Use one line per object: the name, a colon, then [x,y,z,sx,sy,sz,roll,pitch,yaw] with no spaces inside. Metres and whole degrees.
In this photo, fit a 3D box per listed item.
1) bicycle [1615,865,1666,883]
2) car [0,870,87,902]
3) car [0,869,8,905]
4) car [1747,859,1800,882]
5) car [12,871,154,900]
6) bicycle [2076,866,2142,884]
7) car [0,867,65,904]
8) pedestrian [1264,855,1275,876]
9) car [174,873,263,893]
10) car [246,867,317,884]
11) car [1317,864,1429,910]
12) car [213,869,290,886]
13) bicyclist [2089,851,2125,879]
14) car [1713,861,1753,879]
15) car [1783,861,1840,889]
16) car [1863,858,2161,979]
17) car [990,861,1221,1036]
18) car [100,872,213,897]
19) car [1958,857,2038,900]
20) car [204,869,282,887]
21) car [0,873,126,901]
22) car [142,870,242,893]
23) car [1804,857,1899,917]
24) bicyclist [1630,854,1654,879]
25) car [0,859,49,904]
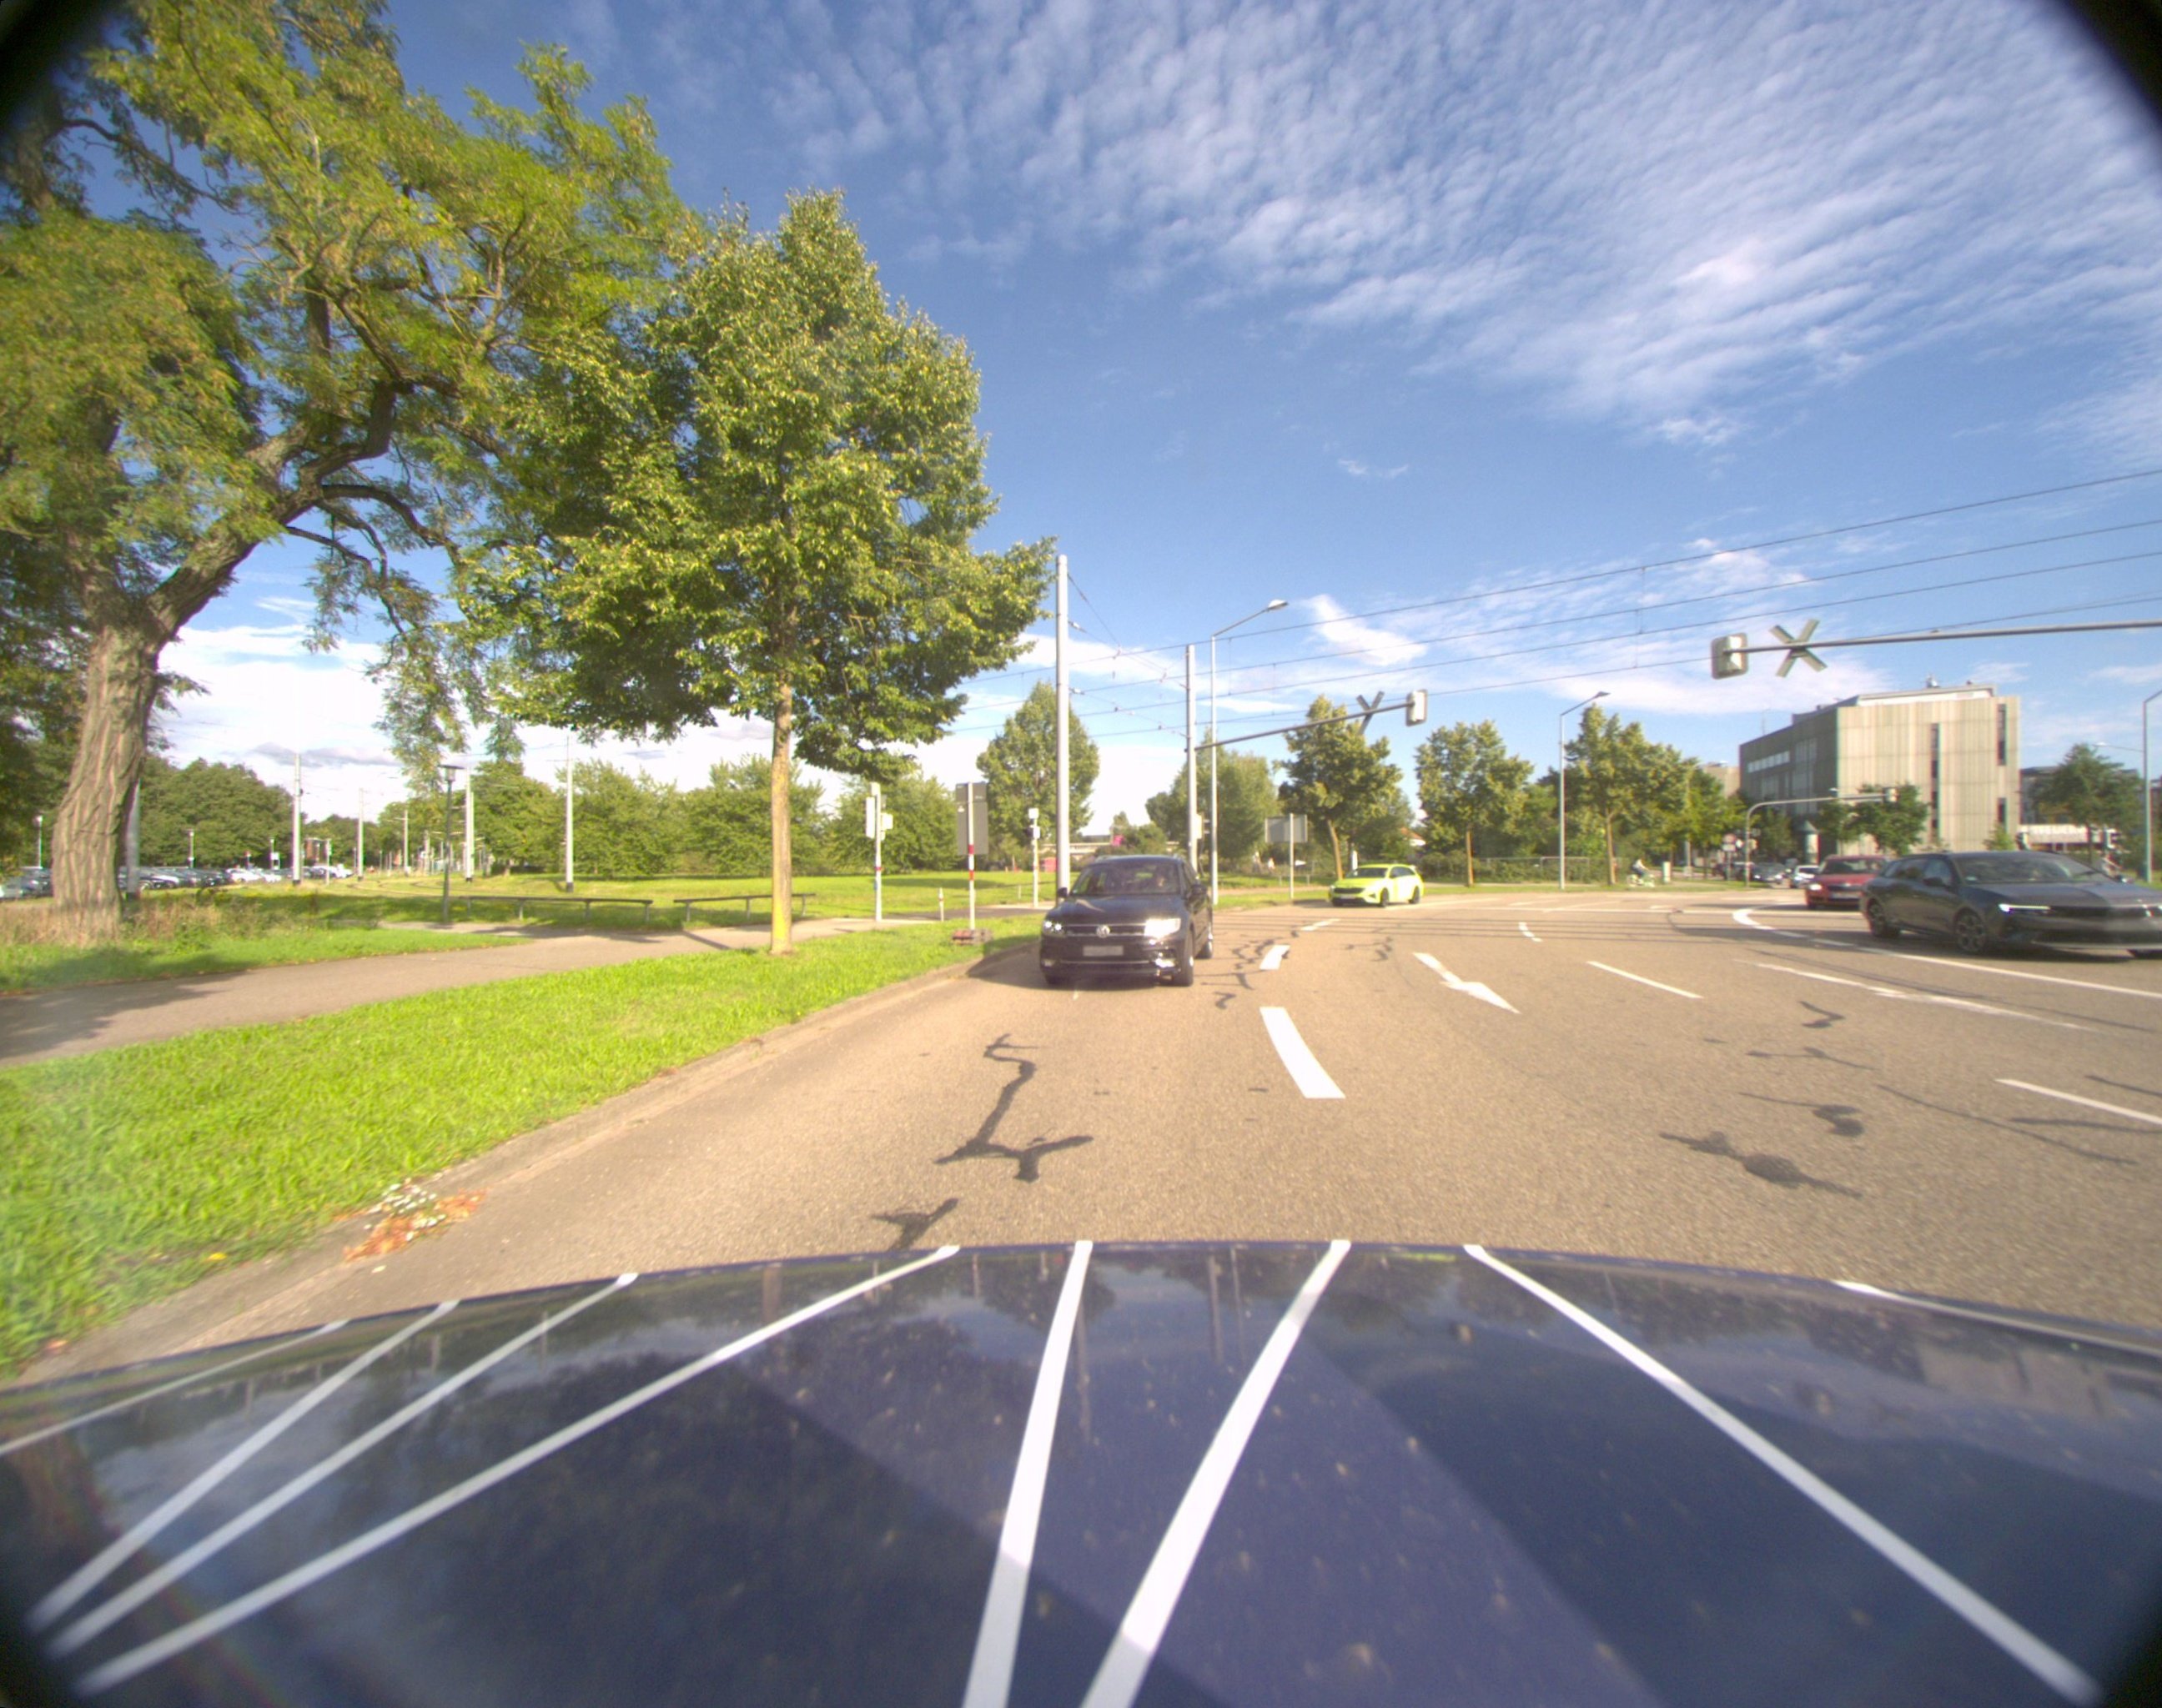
bicycle: [35.376,1.270,48.035,2.599,1.119,0.804,0,0,1]
car: [-52.584,1.578,37.298,4.118,1.506,2.032,0,0,-27]
car: [-47.723,1.425,30.850,4.478,1.506,1.856,0,0,-42]
car: [53.145,1.251,58.411,1.995,1.652,4.812,0,0,29]
car: [-56.588,1.741,43.213,4.476,1.496,1.856,0,0,-31]
bicycle: [57.777,1.174,42.743,1.956,1.001,1.004,0,0,29]
car: [-51.454,1.479,35.392,4.475,1.664,2.098,0,0,-27]
pedestrian: [15.440,0.913,62.194,0.669,1.722,0.595,-1,1,-40]
car: [-71.453,2.374,63.058,4.476,1.532,1.855,0,0,-31]
car: [-80.171,2.155,76.280,4.474,1.532,1.856,0,0,-24]
car: [10.295,1.108,26.590,4.617,1.412,1.892,-1,-1,-44]
car: [-77.791,2.187,71.331,4.474,1.532,1.856,0,0,-24]
bicyclist: [57.731,0.600,42.763,0.863,1.546,0.999,0,0,30]
car: [61.297,1.478,71.531,1.994,1.652,4.812,0,0,30]
car: [45.811,1.276,47.728,1.994,1.652,4.813,0,0,37]
car: [13.610,0.797,11.155,1.819,1.412,4.456,-2,-1,30]
car: [0.658,0.962,10.191,1.869,1.685,5.021,0,0,17]
car: [-62.676,2.033,51.613,4.476,1.532,1.855,0,0,-31]
car: [33.052,0.874,27.347,4.236,1.466,1.690,1,-2,-38]
car: [-75.742,2.122,68.767,4.477,1.467,1.795,0,0,-34]
car: [-55.221,1.757,40.836,4.476,1.390,1.856,0,0,-31]
car: [-66.507,2.037,56.925,4.476,1.532,1.855,0,0,-31]
car: [21.162,0.843,20.960,1.690,1.466,4.236,-1,-1,44]
bicyclist: [35.441,0.797,48.015,0.904,1.538,0.804,0,0,2]
car: [-49.549,1.218,32.967,5.122,1.995,2.311,0,0,-31]
